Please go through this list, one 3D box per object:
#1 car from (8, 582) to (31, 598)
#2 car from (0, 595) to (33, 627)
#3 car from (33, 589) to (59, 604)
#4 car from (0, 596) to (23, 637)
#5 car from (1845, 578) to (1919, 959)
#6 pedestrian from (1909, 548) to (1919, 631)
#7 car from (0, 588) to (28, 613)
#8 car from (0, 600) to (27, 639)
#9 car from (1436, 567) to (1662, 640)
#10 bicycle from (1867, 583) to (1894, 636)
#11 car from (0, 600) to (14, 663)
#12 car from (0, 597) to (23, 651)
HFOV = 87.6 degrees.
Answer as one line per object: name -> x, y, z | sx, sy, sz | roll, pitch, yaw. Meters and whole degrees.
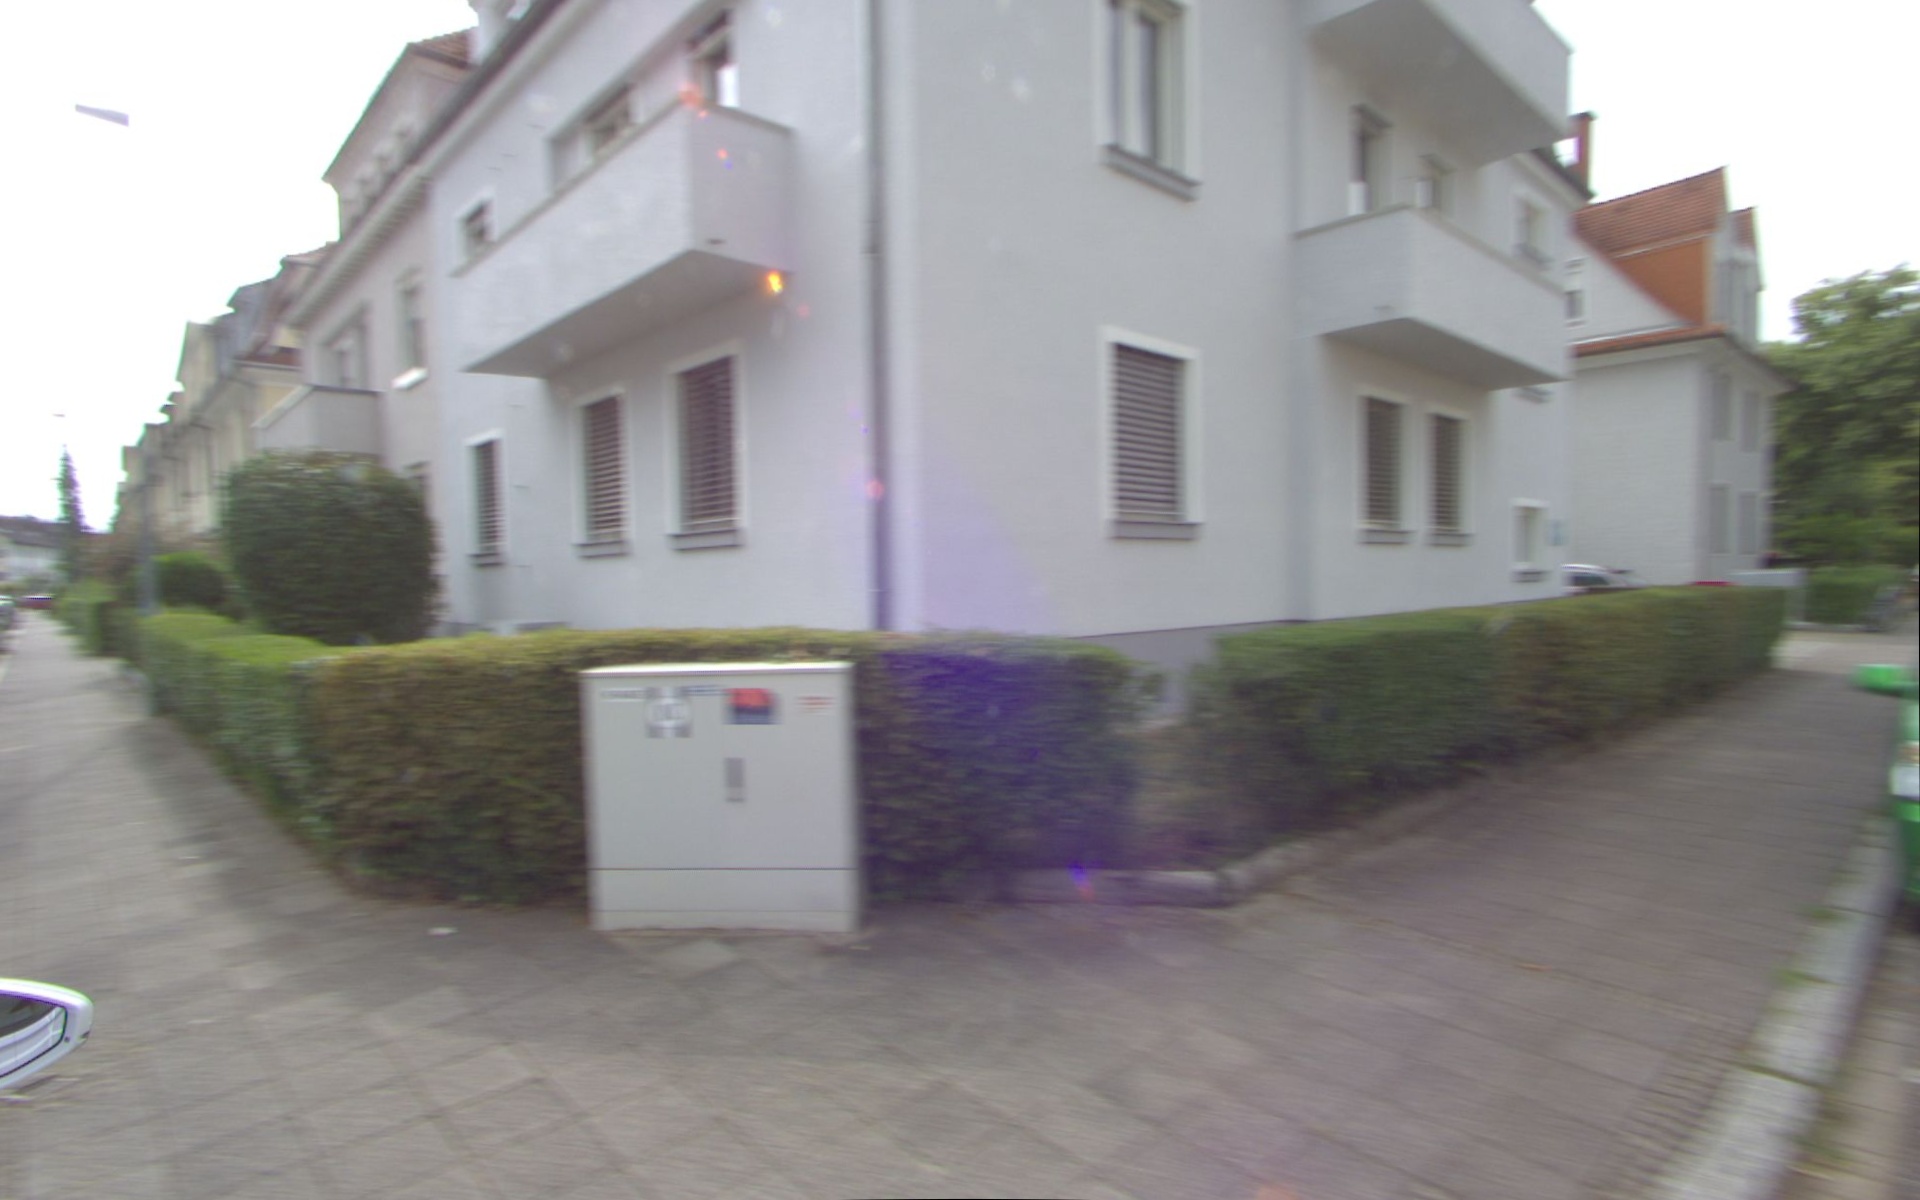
car -> -127.561, -1.334, 135.827 | 1.977, 2.152, 3.966 | -2, 2, -39
car -> -48.114, 0.533, 50.480 | 1.839, 1.491, 4.137 | -2, 2, -41
car -> -95.362, -0.377, 104.544 | 1.839, 1.599, 4.137 | -2, 2, -41
car -> -37.076, 0.604, 38.118 | 1.839, 1.491, 4.137 | -2, 2, -41
car -> 5.330, 0.582, 4.569 | 3.446, 1.440, 1.636 | -2, -1, -44
pedestrian -> 22.344, -0.250, 22.885 | 1.067, 1.904, 0.876 | -3, 3, -43
car -> -64.763, 0.034, 68.154 | 1.840, 1.599, 4.135 | -2, 2, -42
car -> -39.917, 0.796, 41.368 | 1.839, 1.491, 4.137 | -2, 2, -41
car -> 13.067, 0.042, 22.378 | 1.979, 1.484, 3.963 | -2, 2, -42
bicycle -> 20.736, 0.185, 22.558 | 0.418, 1.118, 2.096 | 1, 2, 42
car -> -25.191, 0.781, 25.151 | 1.839, 1.491, 4.137 | -2, 2, -41
car -> -28.839, 0.700, 29.325 | 1.839, 1.491, 4.137 | -2, 2, -41
